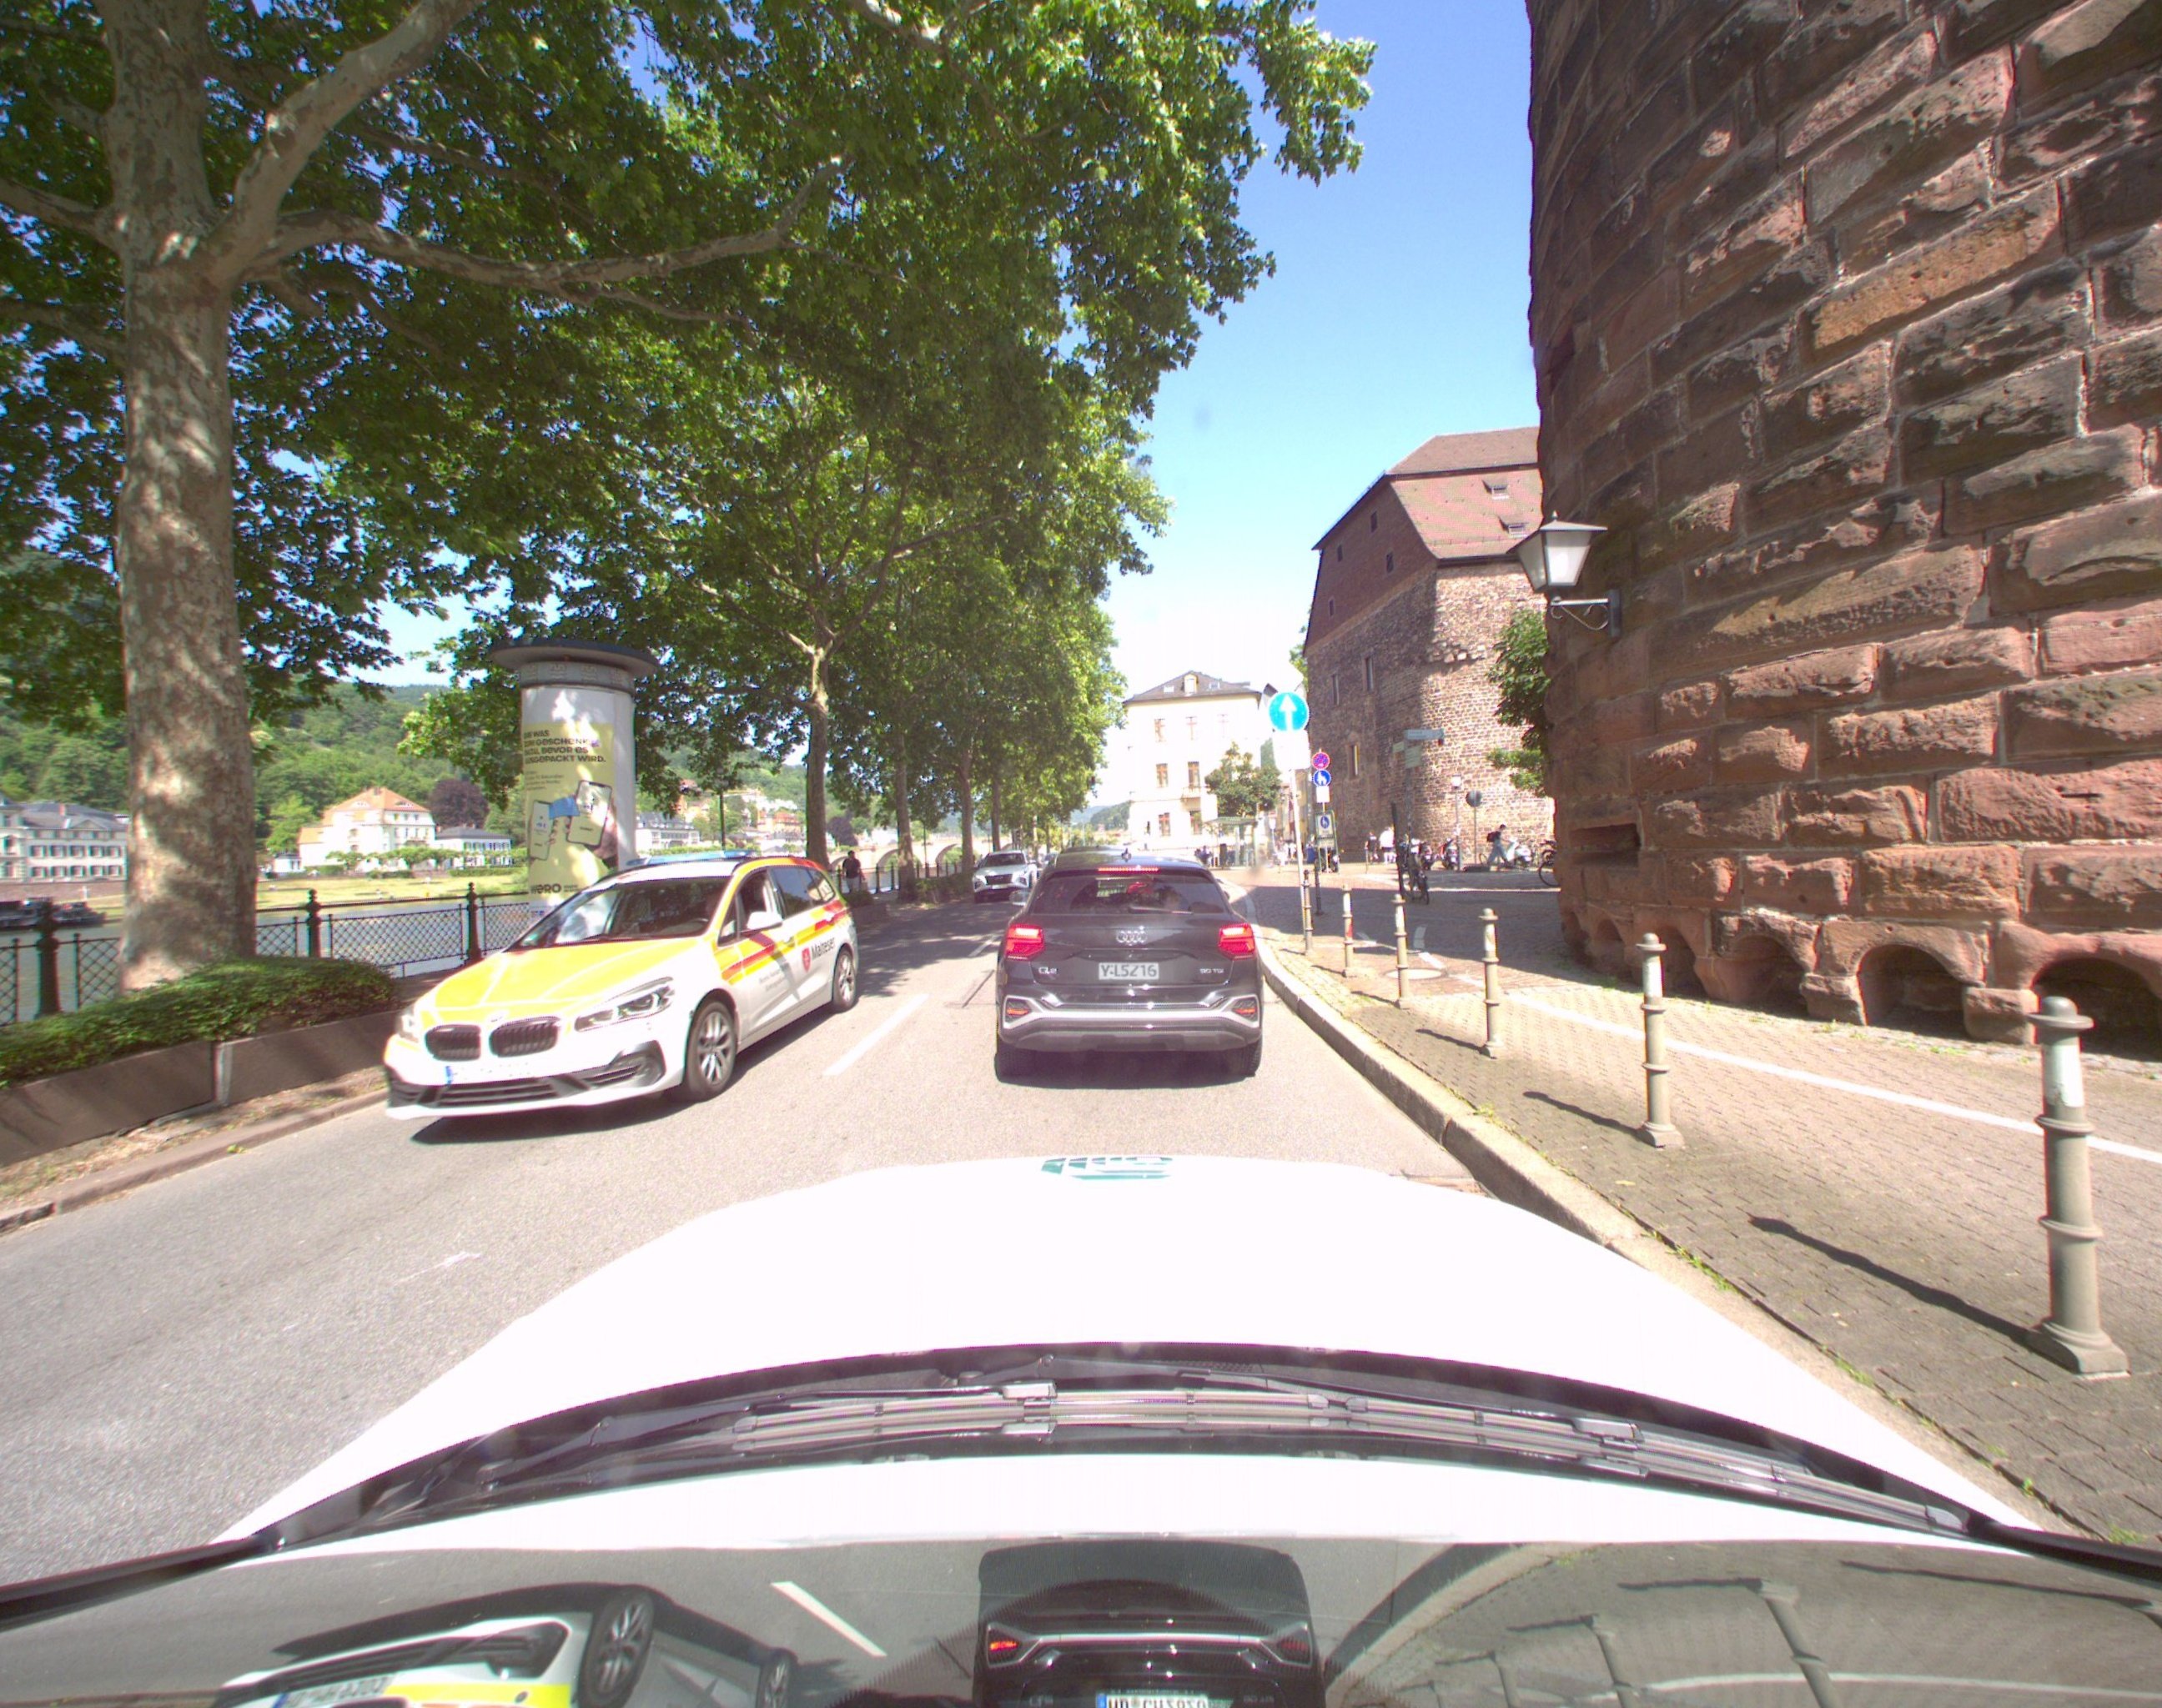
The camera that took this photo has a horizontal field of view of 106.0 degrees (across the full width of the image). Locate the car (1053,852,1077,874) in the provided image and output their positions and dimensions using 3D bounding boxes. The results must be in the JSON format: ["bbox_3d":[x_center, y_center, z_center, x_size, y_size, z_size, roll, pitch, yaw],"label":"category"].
[{"bbox_3d":[-1.433,0.789,75.114,1.806,1.725,4.423,-8,0,2],"label":"car"}]

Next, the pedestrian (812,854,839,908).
[{"bbox_3d":[-8.220,0.860,26.254,0.599,1.685,0.583,-3,0,0],"label":"pedestrian"}]

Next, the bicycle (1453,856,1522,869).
[{"bbox_3d":[13.630,0.291,27.368,1.914,0.381,0.921,-2,-1,16],"label":"bicycle"}]

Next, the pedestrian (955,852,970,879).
[{"bbox_3d":[-8.021,0.769,55.246,0.906,1.811,0.586,-1,-1,6],"label":"pedestrian"}]

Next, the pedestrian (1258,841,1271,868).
[{"bbox_3d":[9.550,0.013,42.466,0.555,1.385,0.588,-1,-1,4],"label":"pedestrian"}]

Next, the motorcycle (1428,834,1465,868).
[{"bbox_3d":[13.776,-0.107,30.756,0.544,1.235,2.031,-1,-1,2],"label":"motorcycle"}]

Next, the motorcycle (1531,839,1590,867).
[{"bbox_3d":[18.115,-0.028,30.800,1.854,1.054,0.481,-1,-1,9],"label":"motorcycle"}]

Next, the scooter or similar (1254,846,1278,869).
[{"bbox_3d":[8.938,0.177,39.341,1.085,1.066,0.323,0,-1,-1],"label":"scooter or similar"}]

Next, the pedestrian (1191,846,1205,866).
[{"bbox_3d":[6.906,0.122,48.018,0.662,1.211,0.640,0,-1,-5],"label":"pedestrian"}]

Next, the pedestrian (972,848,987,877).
[{"bbox_3d":[-7.241,0.597,58.041,0.906,2.014,0.587,-1,-1,6],"label":"pedestrian"}]

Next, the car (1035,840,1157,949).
[{"bbox_3d":[0.275,0.588,13.625,1.786,1.595,3.400,0,0,2],"label":"car"}]

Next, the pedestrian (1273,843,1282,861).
[{"bbox_3d":[16.878,-0.202,70.031,0.621,1.532,0.465,0,-1,-6],"label":"pedestrian"}]

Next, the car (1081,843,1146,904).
[{"bbox_3d":[0.942,0.516,23.864,1.704,1.609,3.656,-1,0,2],"label":"car"}]

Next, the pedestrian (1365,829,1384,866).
[{"bbox_3d":[14.822,-0.330,41.152,0.649,1.802,0.847,-1,0,1],"label":"pedestrian"}]

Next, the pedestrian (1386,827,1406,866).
[{"bbox_3d":[15.635,-0.378,40.449,0.666,1.920,0.821,0,-1,1],"label":"pedestrian"}]

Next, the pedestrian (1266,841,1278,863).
[{"bbox_3d":[17.308,-0.175,73.771,0.941,2.014,0.808,-1,-1,2],"label":"pedestrian"}]

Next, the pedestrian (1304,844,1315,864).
[{"bbox_3d":[18.885,-0.020,67.259,0.685,1.612,0.896,-4,0,20],"label":"pedestrian"}]

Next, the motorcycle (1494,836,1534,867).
[{"bbox_3d":[15.448,-0.092,29.096,0.505,1.073,1.841,-1,-1,2],"label":"motorcycle"}]

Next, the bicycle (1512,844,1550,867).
[{"bbox_3d":[16.629,0.053,30.144,0.352,0.820,1.926,0,1,1],"label":"bicycle"}]

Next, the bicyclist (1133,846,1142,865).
[{"bbox_3d":[4.340,0.128,62.096,0.604,1.450,0.590,0,-1,-3],"label":"bicyclist"}]

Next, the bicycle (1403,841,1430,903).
[{"bbox_3d":[6.874,0.332,16.730,0.192,1.203,1.775,-2,1,13],"label":"bicycle"}]

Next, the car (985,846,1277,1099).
[{"bbox_3d":[0.353,0.696,6.695,1.736,1.509,3.649,0,0,2],"label":"car"}]

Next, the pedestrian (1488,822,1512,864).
[{"bbox_3d":[17.125,-0.446,33.310,0.799,1.662,0.660,-3,0,26],"label":"pedestrian"}]

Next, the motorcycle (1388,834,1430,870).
[{"bbox_3d":[11.995,-0.058,29.857,0.653,1.266,2.201,-2,-1,2],"label":"motorcycle"}]

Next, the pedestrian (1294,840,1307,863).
[{"bbox_3d":[19.741,-0.221,73.154,0.936,2.014,0.808,-1,-1,2],"label":"pedestrian"}]

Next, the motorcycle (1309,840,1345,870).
[{"bbox_3d":[9.052,0.025,30.068,0.564,1.012,2.490,-3,0,1],"label":"motorcycle"}]

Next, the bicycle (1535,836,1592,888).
[{"bbox_3d":[11.545,0.176,19.549,0.444,1.162,1.733,-2,0,5],"label":"bicycle"}]

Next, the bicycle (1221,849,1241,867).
[{"bbox_3d":[9.023,0.230,48.916,1.205,1.035,0.178,0,-1,-17],"label":"bicycle"}]

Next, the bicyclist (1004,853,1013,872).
[{"bbox_3d":[-4.984,0.577,56.066,0.565,1.311,0.551,0,-1,-3],"label":"bicyclist"}]

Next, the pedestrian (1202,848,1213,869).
[{"bbox_3d":[9.041,0.321,58.329,0.691,1.500,0.513,0,-1,-3],"label":"pedestrian"}]

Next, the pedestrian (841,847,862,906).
[{"bbox_3d":[-7.468,0.721,26.494,0.532,1.887,0.437,0,0,1],"label":"pedestrian"}]

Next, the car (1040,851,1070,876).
[{"bbox_3d":[-1.825,0.633,58.624,1.732,1.572,4.093,-6,0,2],"label":"car"}]

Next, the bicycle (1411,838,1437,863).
[{"bbox_3d":[16.757,-0.163,39.860,0.388,1.209,1.715,0,-1,-6],"label":"bicycle"}]

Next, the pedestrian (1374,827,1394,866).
[{"bbox_3d":[14.913,-0.359,40.090,0.666,1.884,0.821,0,-1,1],"label":"pedestrian"}]

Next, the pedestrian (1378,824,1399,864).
[{"bbox_3d":[15.672,-0.502,41.520,0.727,2.014,0.878,0,-1,1],"label":"pedestrian"}]

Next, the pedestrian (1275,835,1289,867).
[{"bbox_3d":[12.183,-0.170,49.385,0.744,1.890,0.753,-1,-1,4],"label":"pedestrian"}]

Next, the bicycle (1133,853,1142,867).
[{"bbox_3d":[4.301,0.465,62.068,0.436,1.086,1.675,0,-1,-2],"label":"bicycle"}]

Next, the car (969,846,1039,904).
[{"bbox_3d":[-2.535,0.654,27.672,1.762,1.660,4.001,-5,0,1],"label":"car"}]

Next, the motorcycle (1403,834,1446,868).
[{"bbox_3d":[12.889,-0.090,30.620,0.672,1.235,2.313,-1,-1,2],"label":"motorcycle"}]

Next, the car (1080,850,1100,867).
[{"bbox_3d":[1.024,0.545,90.102,1.985,1.806,4.003,-1,-1,3],"label":"car"}]

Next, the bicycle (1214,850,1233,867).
[{"bbox_3d":[8.677,0.247,49.513,1.187,1.016,0.178,0,-1,-17],"label":"bicycle"}]

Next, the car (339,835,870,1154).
[{"bbox_3d":[-3.230,0.787,6.694,1.667,1.660,4.224,-5,0,1],"label":"car"}]

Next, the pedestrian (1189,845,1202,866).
[{"bbox_3d":[6.880,0.105,48.835,0.662,1.231,0.640,0,-1,-5],"label":"pedestrian"}]

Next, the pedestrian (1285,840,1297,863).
[{"bbox_3d":[18.784,-0.241,72.837,0.836,2.014,0.738,-1,-1,2],"label":"pedestrian"}]
